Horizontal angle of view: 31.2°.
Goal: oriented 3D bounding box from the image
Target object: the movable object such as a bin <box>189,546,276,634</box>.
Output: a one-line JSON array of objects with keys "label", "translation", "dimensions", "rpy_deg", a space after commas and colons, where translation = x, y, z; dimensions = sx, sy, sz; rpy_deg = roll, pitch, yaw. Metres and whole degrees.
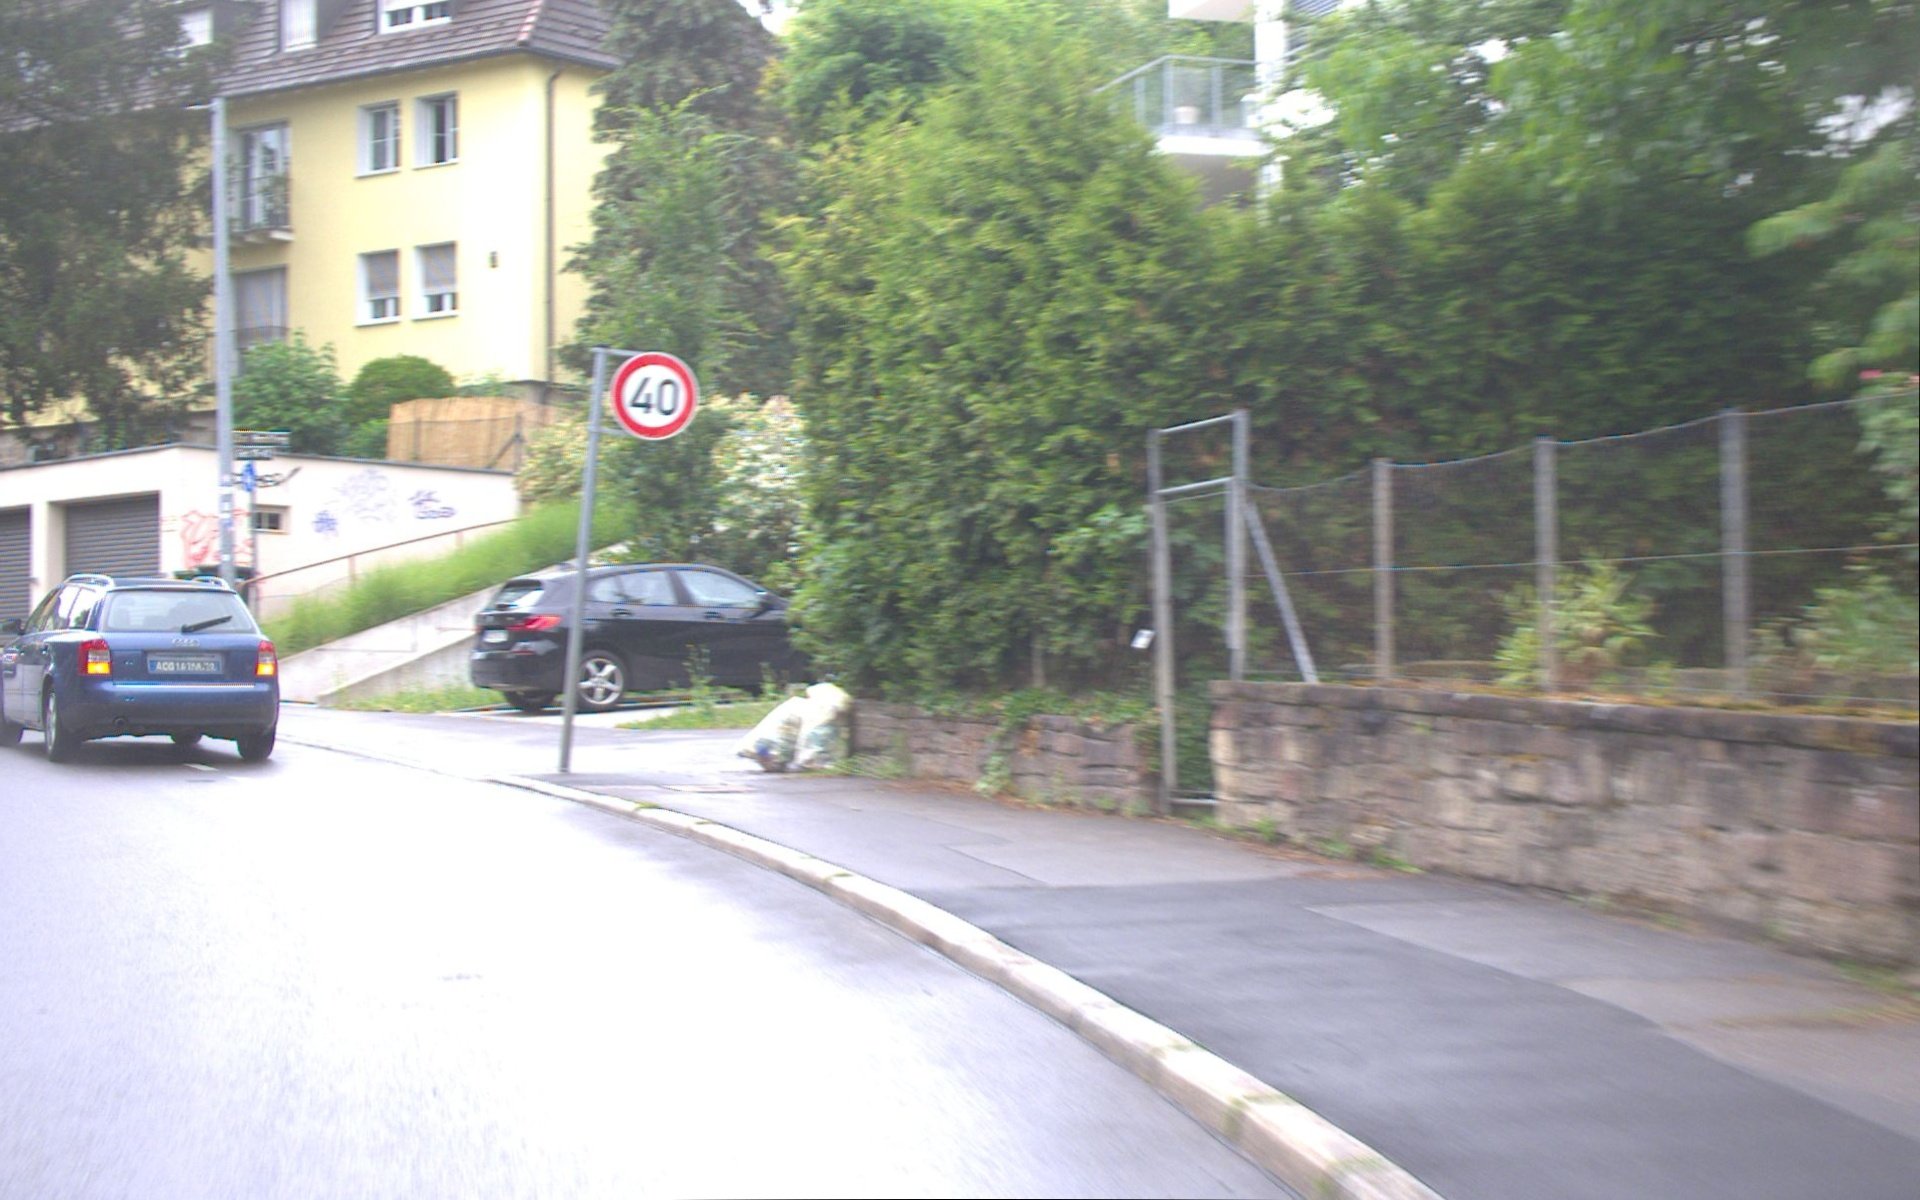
[{"label": "movable object such as a bin", "translation": [-10.007, -0.147, 47.283], "dimensions": [0.786, 1.181, 0.860], "rpy_deg": [1, 1, 41]}]

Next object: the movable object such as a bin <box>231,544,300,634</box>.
[{"label": "movable object such as a bin", "translation": [-9.460, -0.154, 46.839], "dimensions": [0.580, 1.219, 0.703], "rpy_deg": [1, 1, 41]}]

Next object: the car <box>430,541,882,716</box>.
[{"label": "car", "translation": [-3.030, 0.246, 34.615], "dimensions": [4.170, 1.503, 1.740], "rpy_deg": [-3, 2, -34]}]

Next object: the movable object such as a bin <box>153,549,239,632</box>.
[{"label": "movable object such as a bin", "translation": [-10.626, -0.137, 47.804], "dimensions": [0.799, 1.138, 0.860], "rpy_deg": [1, 1, 41]}]

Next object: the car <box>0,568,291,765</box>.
[{"label": "car", "translation": [-6.818, 0.471, 28.038], "dimensions": [1.853, 1.409, 4.363], "rpy_deg": [-1, 1, -22]}]
